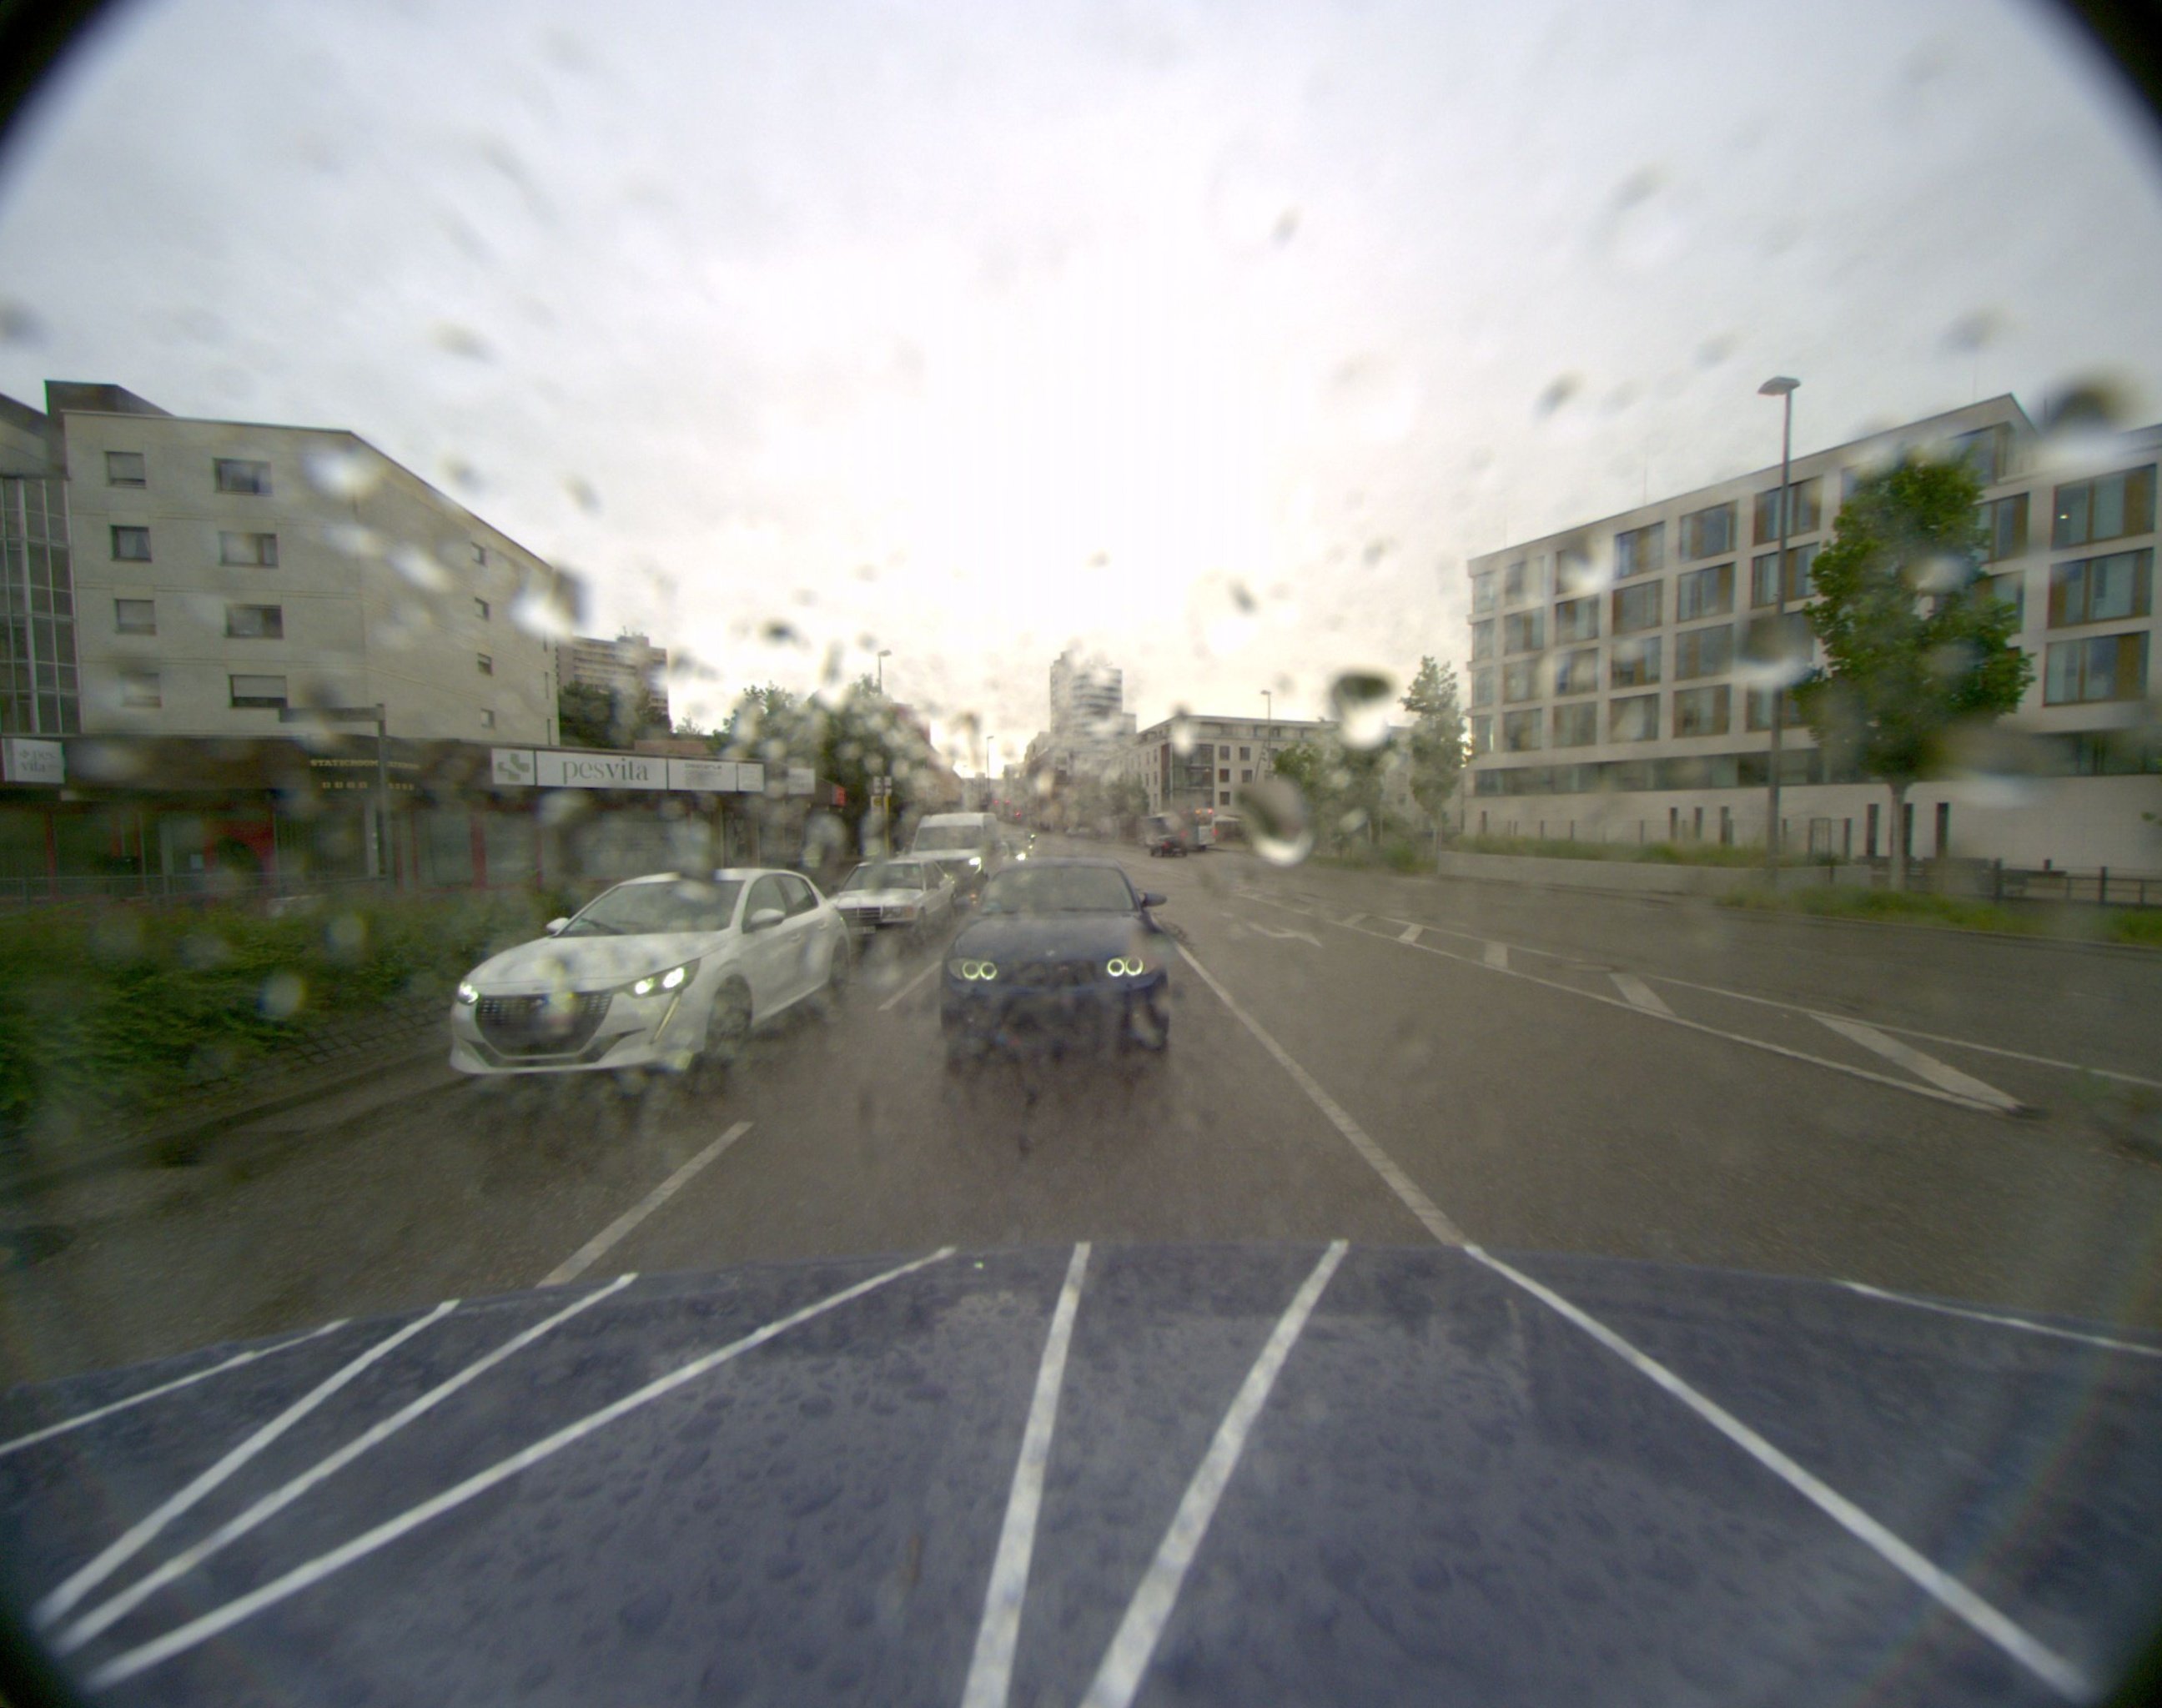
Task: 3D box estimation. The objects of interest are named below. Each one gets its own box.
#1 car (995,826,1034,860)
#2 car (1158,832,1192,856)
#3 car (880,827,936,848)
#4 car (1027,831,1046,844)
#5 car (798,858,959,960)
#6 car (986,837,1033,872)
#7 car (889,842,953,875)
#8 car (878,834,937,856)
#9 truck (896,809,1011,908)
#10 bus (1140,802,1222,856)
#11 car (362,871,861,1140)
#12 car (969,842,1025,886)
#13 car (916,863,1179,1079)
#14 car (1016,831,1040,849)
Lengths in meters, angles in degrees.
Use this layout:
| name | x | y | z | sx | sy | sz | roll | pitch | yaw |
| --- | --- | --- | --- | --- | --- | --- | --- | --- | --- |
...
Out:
| name | x | y | z | sx | sy | sz | roll | pitch | yaw |
| --- | --- | --- | --- | --- | --- | --- | --- | --- | --- |
| car | -4.082 | -0.704 | 47.321 | 1.998 | 2.002 | 3.999 | 1 | 1 | 1 |
| car | 6.225 | -0.694 | 50.473 | 1.818 | 1.421 | 3.941 | -2 | 3 | 2 |
| car | -13.070 | -1.240 | 57.508 | 4.000 | 1.412 | 1.701 | -2 | 2 | -9 |
| car | -5.312 | -1.946 | 89.953 | 1.719 | 1.369 | 3.730 | -3 | 1 | -11 |
| car | -3.353 | 0.840 | 13.327 | 1.718 | 1.369 | 3.734 | -3 | 1 | 1 |
| car | -3.440 | 0.028 | 37.258 | 1.999 | 1.543 | 3.999 | -1 | 0 | -2 |
| car | -7.011 | 0.154 | 33.640 | 1.998 | 1.344 | 3.803 | 1 | 1 | 1 |
| car | -12.597 | -0.655 | 55.272 | 4.000 | 1.412 | 1.998 | -2 | 1 | -9 |
| truck | -3.486 | 0.064 | 22.149 | 2.169 | 2.425 | 6.198 | -1 | 1 | 1 |
| bus | 8.113 | -2.025 | 65.530 | 2.952 | 3.972 | 18.215 | 0 | 1 | -5 |
| car | -3.408 | 0.966 | 6.593 | 1.718 | 1.389 | 4.035 | -3 | 1 | 1 |
| car | -3.291 | 0.345 | 30.432 | 1.643 | 1.477 | 3.676 | -6 | 1 | 1 |
| car | -0.210 | 0.838 | 7.117 | 1.787 | 1.335 | 3.704 | -2 | 1 | 1 |
| car | -4.780 | -1.255 | 68.844 | 1.999 | 1.543 | 3.999 | -1 | 0 | -2 |
